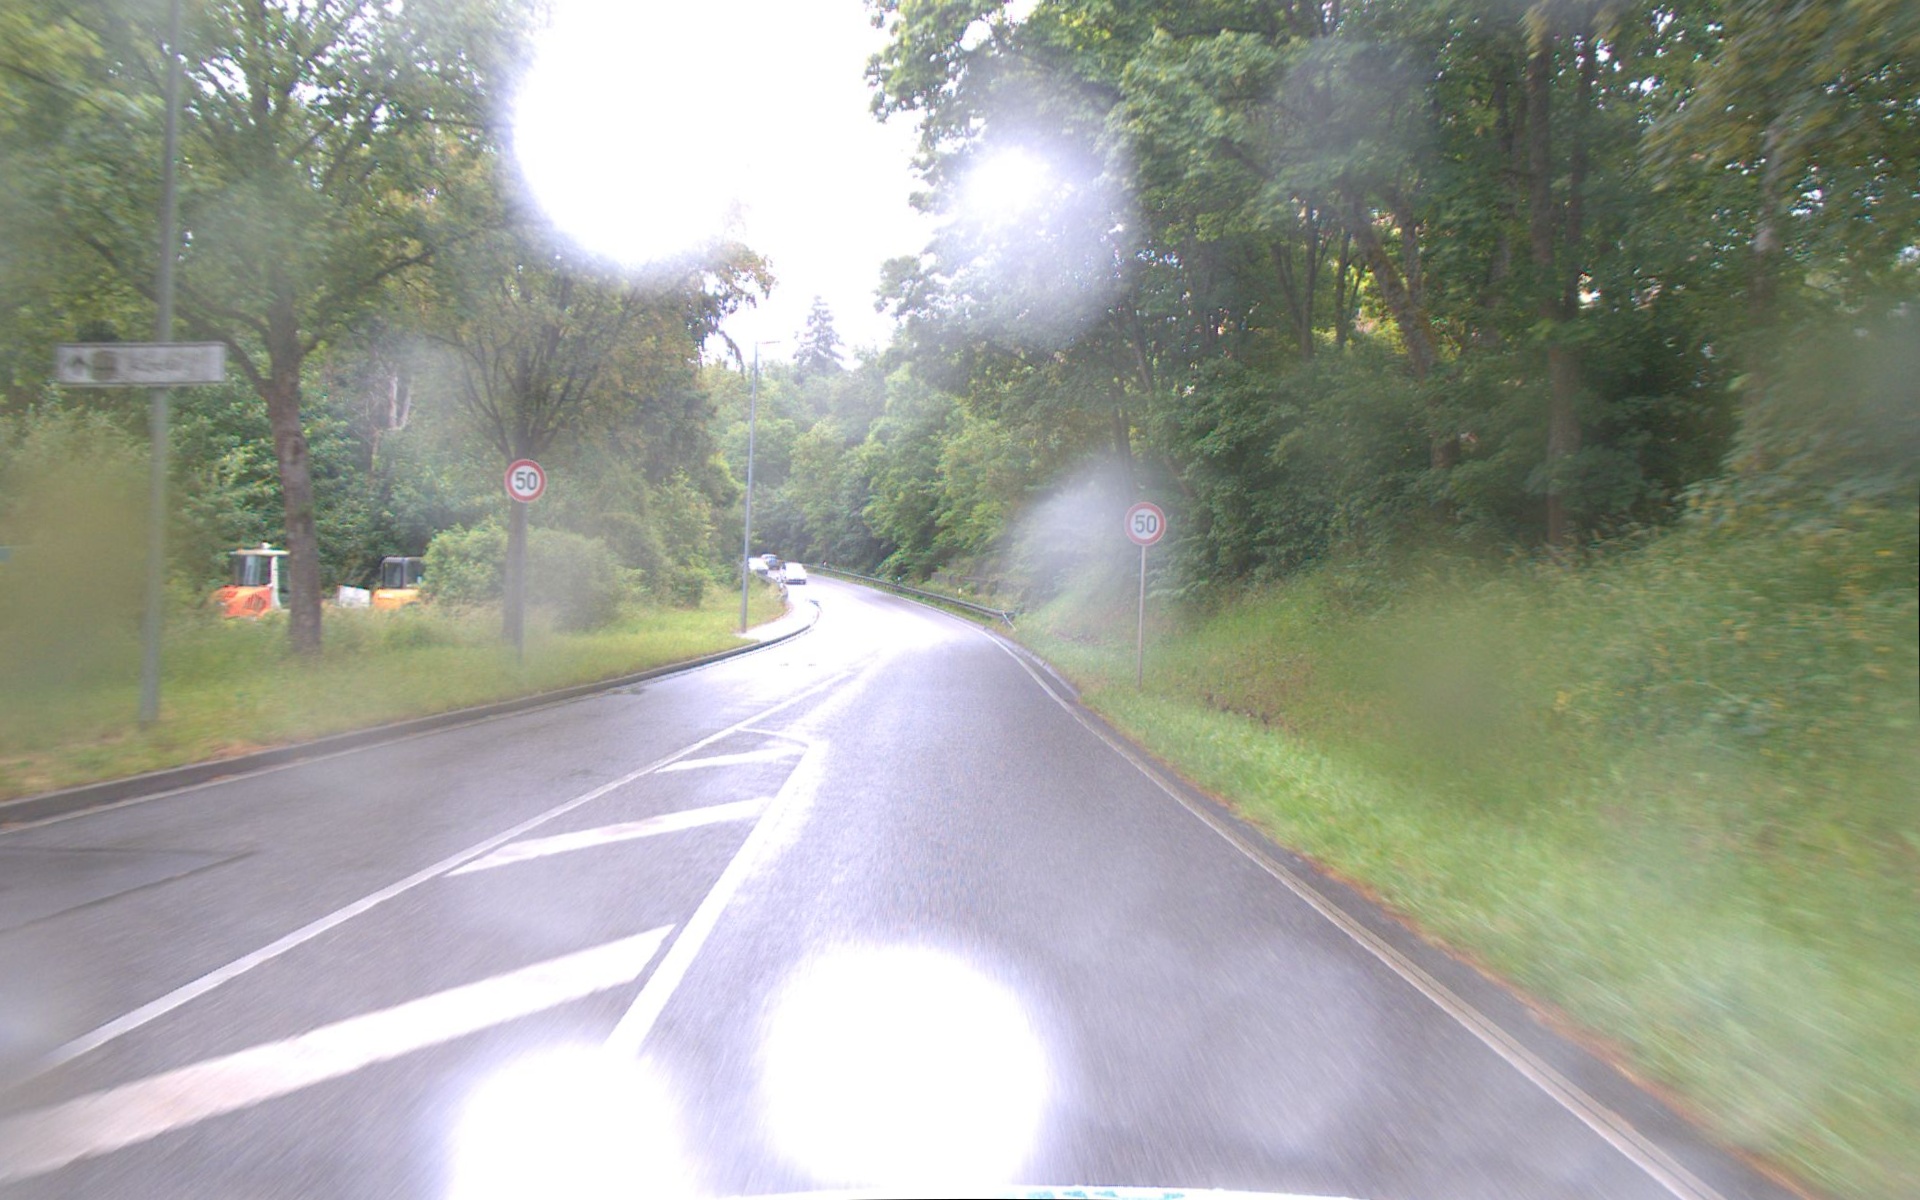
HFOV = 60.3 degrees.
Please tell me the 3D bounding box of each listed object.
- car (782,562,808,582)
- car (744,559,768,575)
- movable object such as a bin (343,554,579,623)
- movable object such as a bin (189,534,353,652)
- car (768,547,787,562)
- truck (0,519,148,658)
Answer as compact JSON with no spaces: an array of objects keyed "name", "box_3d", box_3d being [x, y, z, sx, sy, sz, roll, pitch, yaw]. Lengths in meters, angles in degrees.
[{"name":"car","box_3d":[-14.087,-2.390,140.857,1.782,1.676,4.120,0,1,-11]},{"name":"car","box_3d":[-19.607,-3.187,159.127,1.784,1.459,3.984,0,1,-15]},{"name":"movable object such as a bin","box_3d":[-15.081,-0.338,50.698,1.811,1.941,7.894,1,1,29]},{"name":"movable object such as a bin","box_3d":[-18.098,-0.185,43.667,1.951,2.911,4.003,2,0,13]},{"name":"car","box_3d":[-18.735,-4.626,169.627,1.702,1.536,3.998,0,1,-4]},{"name":"truck","box_3d":[-18.070,-0.303,32.402,1.954,2.500,5.219,2,1,-4]}]
